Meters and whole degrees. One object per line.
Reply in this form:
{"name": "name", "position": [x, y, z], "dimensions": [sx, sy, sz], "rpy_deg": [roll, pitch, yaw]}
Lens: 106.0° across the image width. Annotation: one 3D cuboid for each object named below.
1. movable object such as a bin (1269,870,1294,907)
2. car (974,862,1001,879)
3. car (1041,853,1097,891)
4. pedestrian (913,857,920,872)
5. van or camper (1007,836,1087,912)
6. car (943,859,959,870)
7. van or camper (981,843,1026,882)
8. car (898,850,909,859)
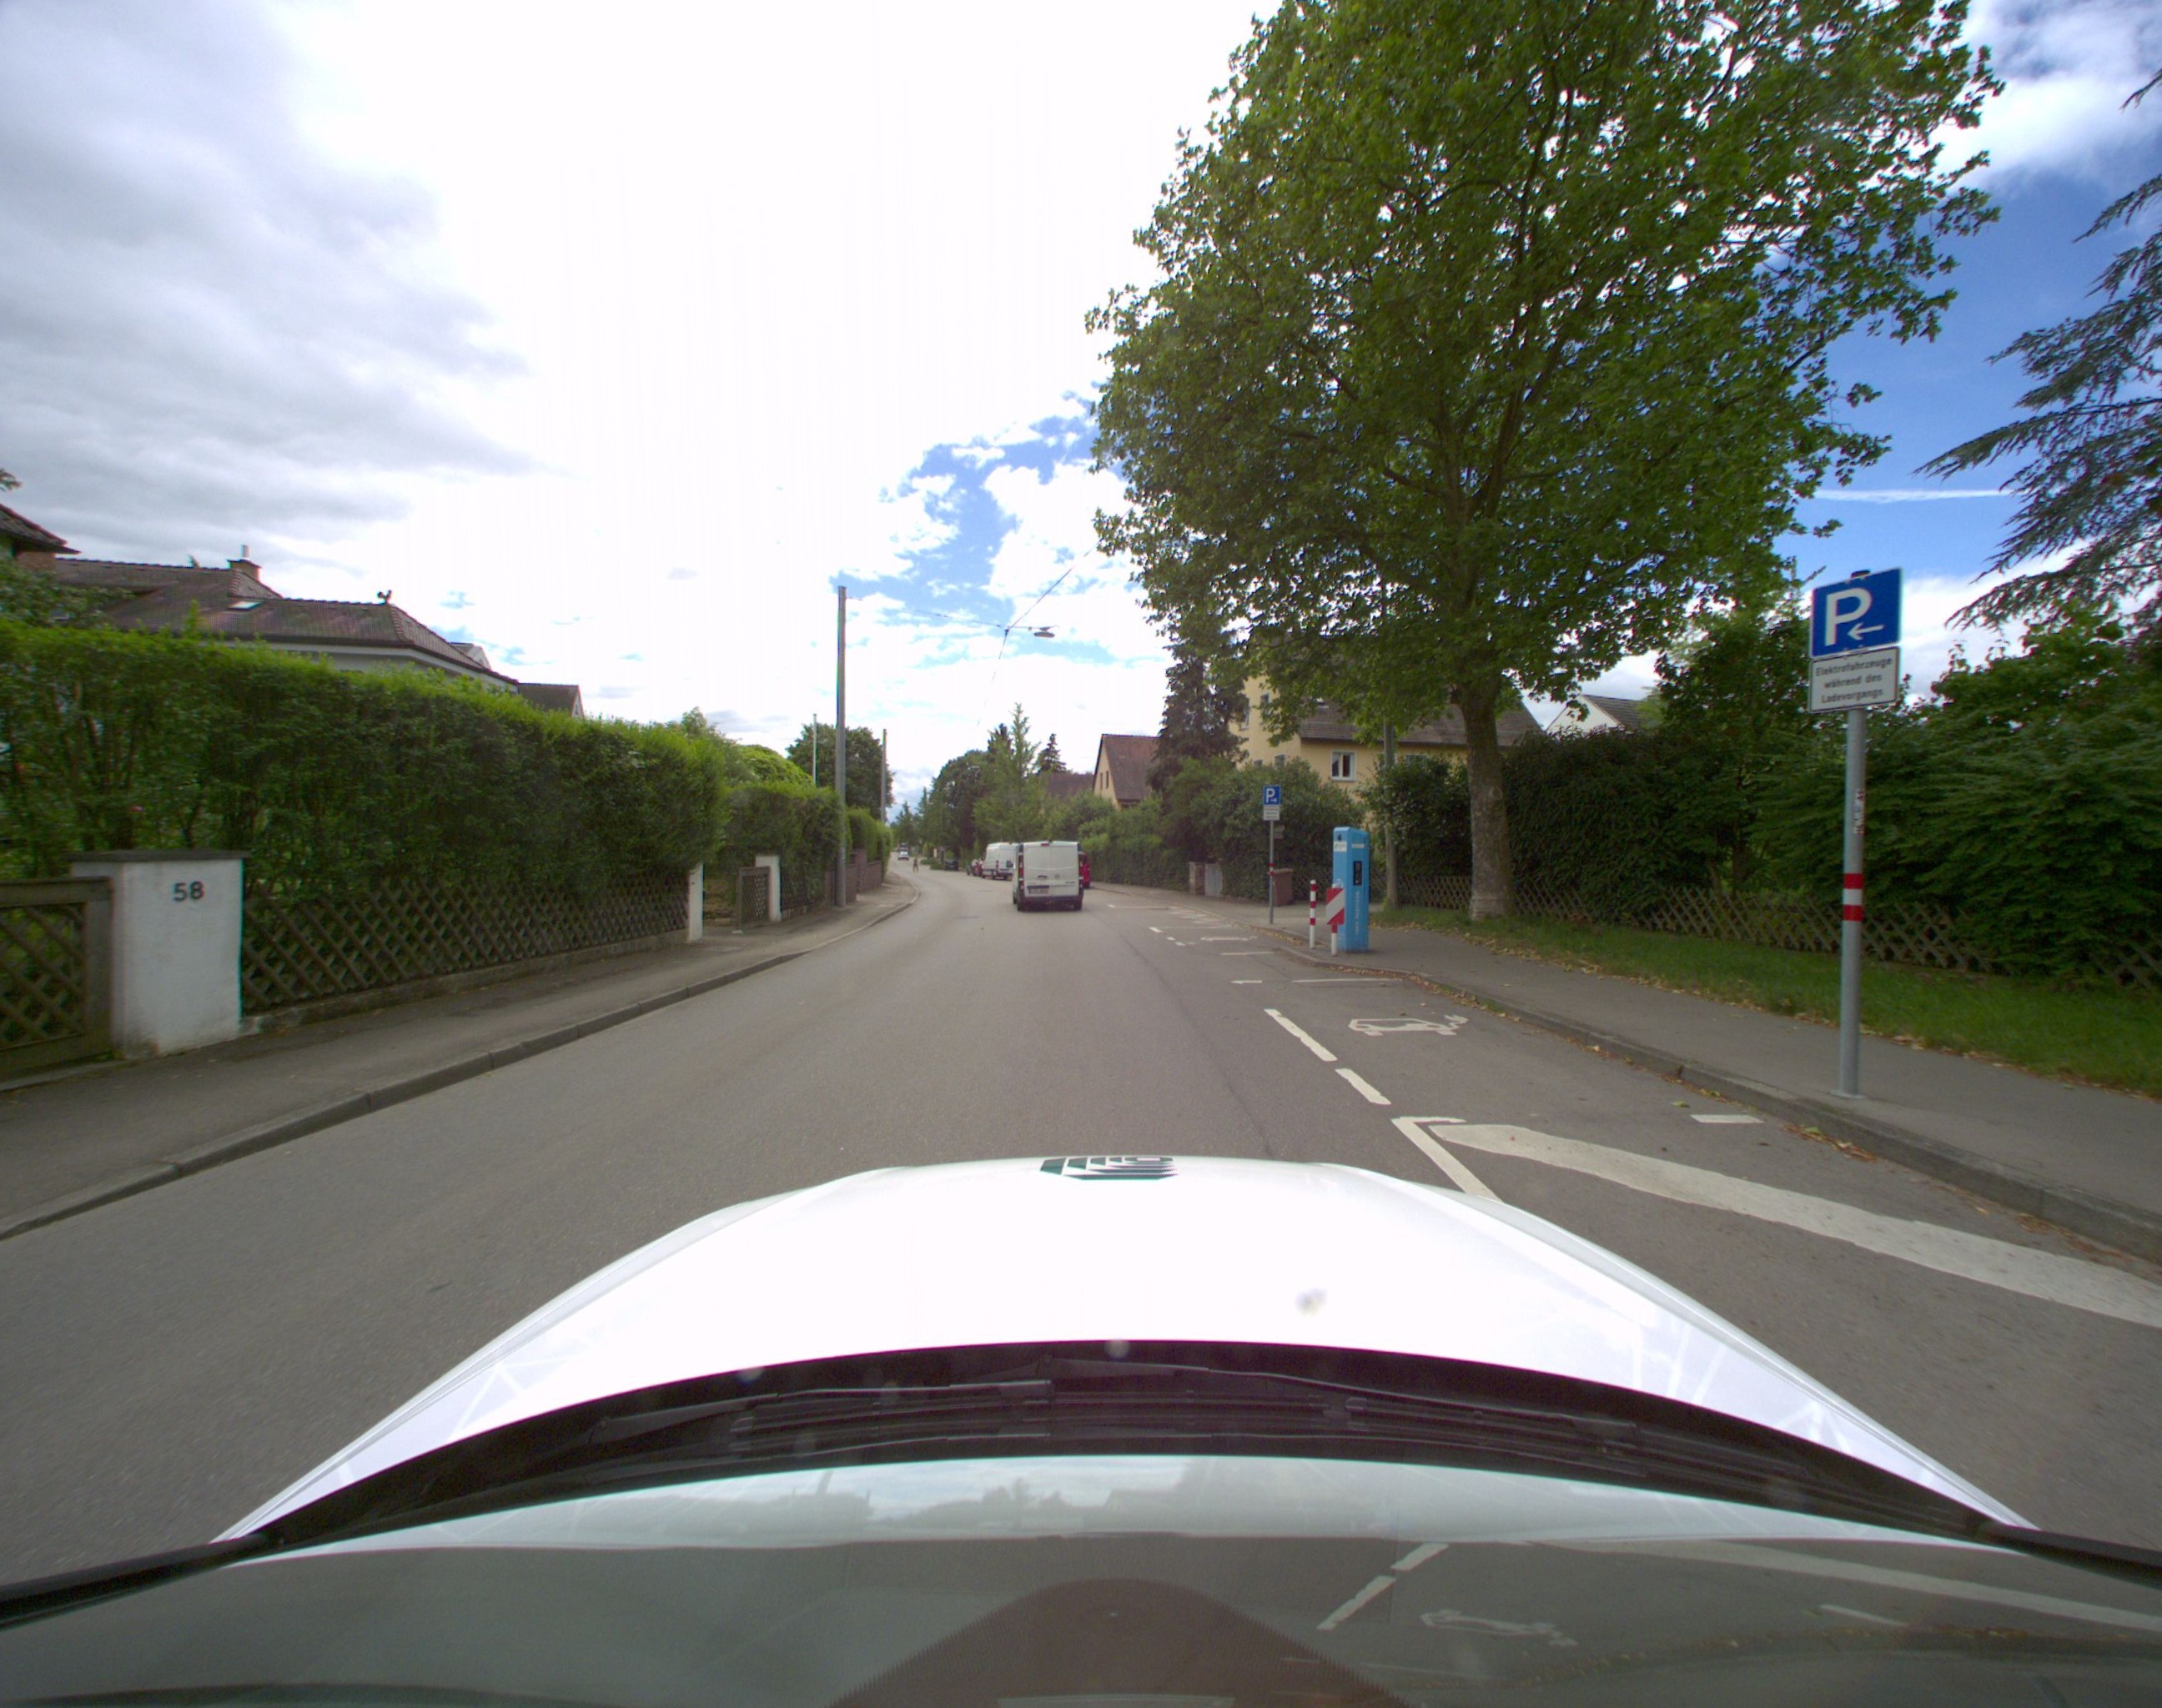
{"name": "movable object such as a bin", "position": [5.923, 1.008, 24.088], "dimensions": [0.602, 1.069, 0.568], "rpy_deg": [0, 0, 0]}
{"name": "car", "position": [-7.722, 1.341, 66.937], "dimensions": [1.534, 1.304, 4.009], "rpy_deg": [0, 0, -16]}
{"name": "car", "position": [-0.684, 0.845, 41.009], "dimensions": [1.763, 1.797, 4.926], "rpy_deg": [0, 0, -13]}
{"name": "pedestrian", "position": [-17.420, 1.129, 86.409], "dimensions": [0.551, 1.559, 0.555], "rpy_deg": [0, 2, 13]}
{"name": "van or camper", "position": [-1.136, 0.485, 24.575], "dimensions": [1.923, 2.013, 4.815], "rpy_deg": [0, 2, -9]}
{"name": "car", "position": [-15.676, 1.257, 98.486], "dimensions": [1.534, 1.304, 3.210], "rpy_deg": [0, 0, -16]}
{"name": "van or camper", "position": [-5.691, 0.586, 59.258], "dimensions": [2.071, 2.675, 6.292], "rpy_deg": [0, 0, -17]}
{"name": "car", "position": [-33.877, 0.090, 155.670], "dimensions": [1.780, 1.651, 3.624], "rpy_deg": [-1, 2, -16]}
